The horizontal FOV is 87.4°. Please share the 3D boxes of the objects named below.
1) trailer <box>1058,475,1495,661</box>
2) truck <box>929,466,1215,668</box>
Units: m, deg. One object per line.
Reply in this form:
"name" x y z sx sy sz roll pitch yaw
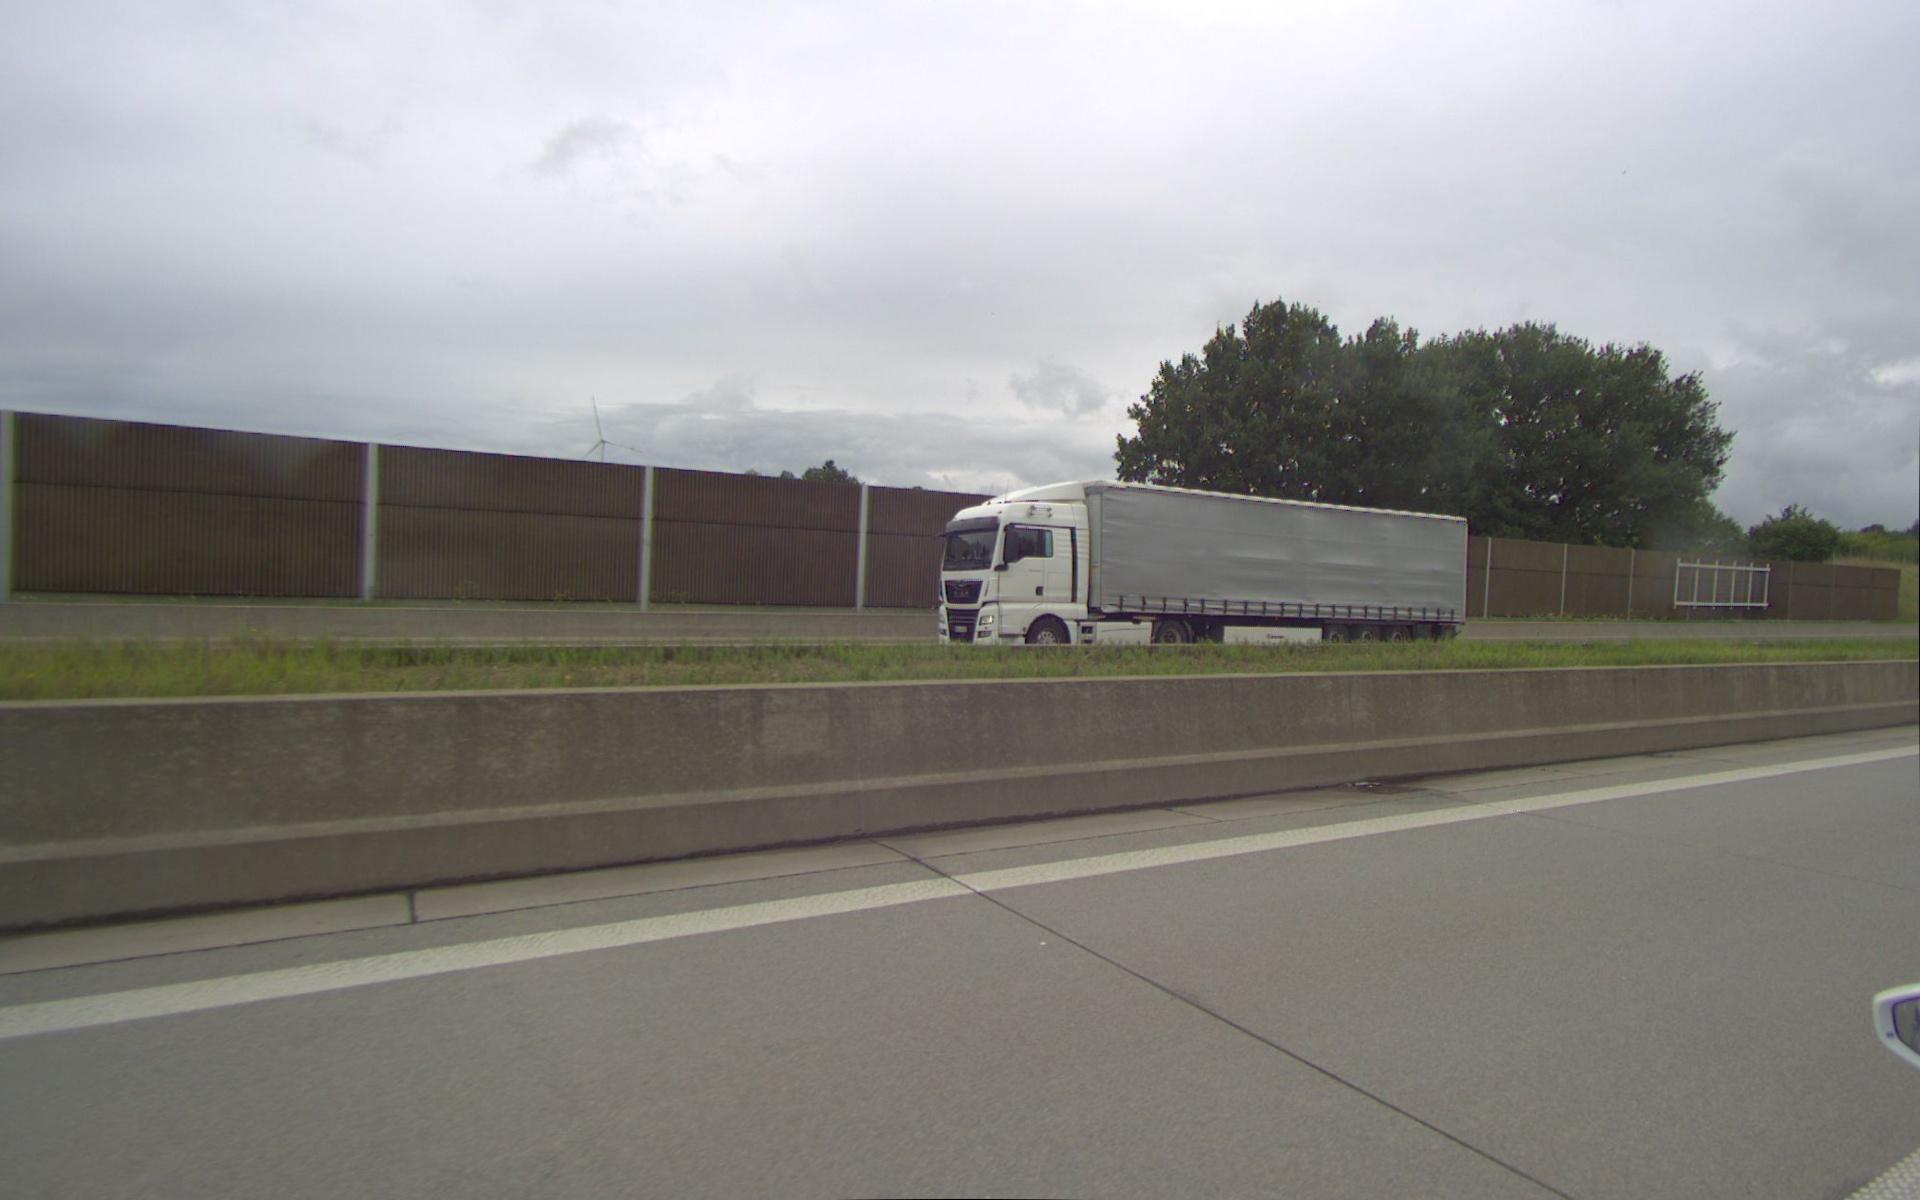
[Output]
"trailer" 9.057 -0.563 27.127 13.844 4.150 2.683 2 0 -31
"truck" 2.648 -0.615 23.257 6.144 4.138 2.669 2 0 -31
